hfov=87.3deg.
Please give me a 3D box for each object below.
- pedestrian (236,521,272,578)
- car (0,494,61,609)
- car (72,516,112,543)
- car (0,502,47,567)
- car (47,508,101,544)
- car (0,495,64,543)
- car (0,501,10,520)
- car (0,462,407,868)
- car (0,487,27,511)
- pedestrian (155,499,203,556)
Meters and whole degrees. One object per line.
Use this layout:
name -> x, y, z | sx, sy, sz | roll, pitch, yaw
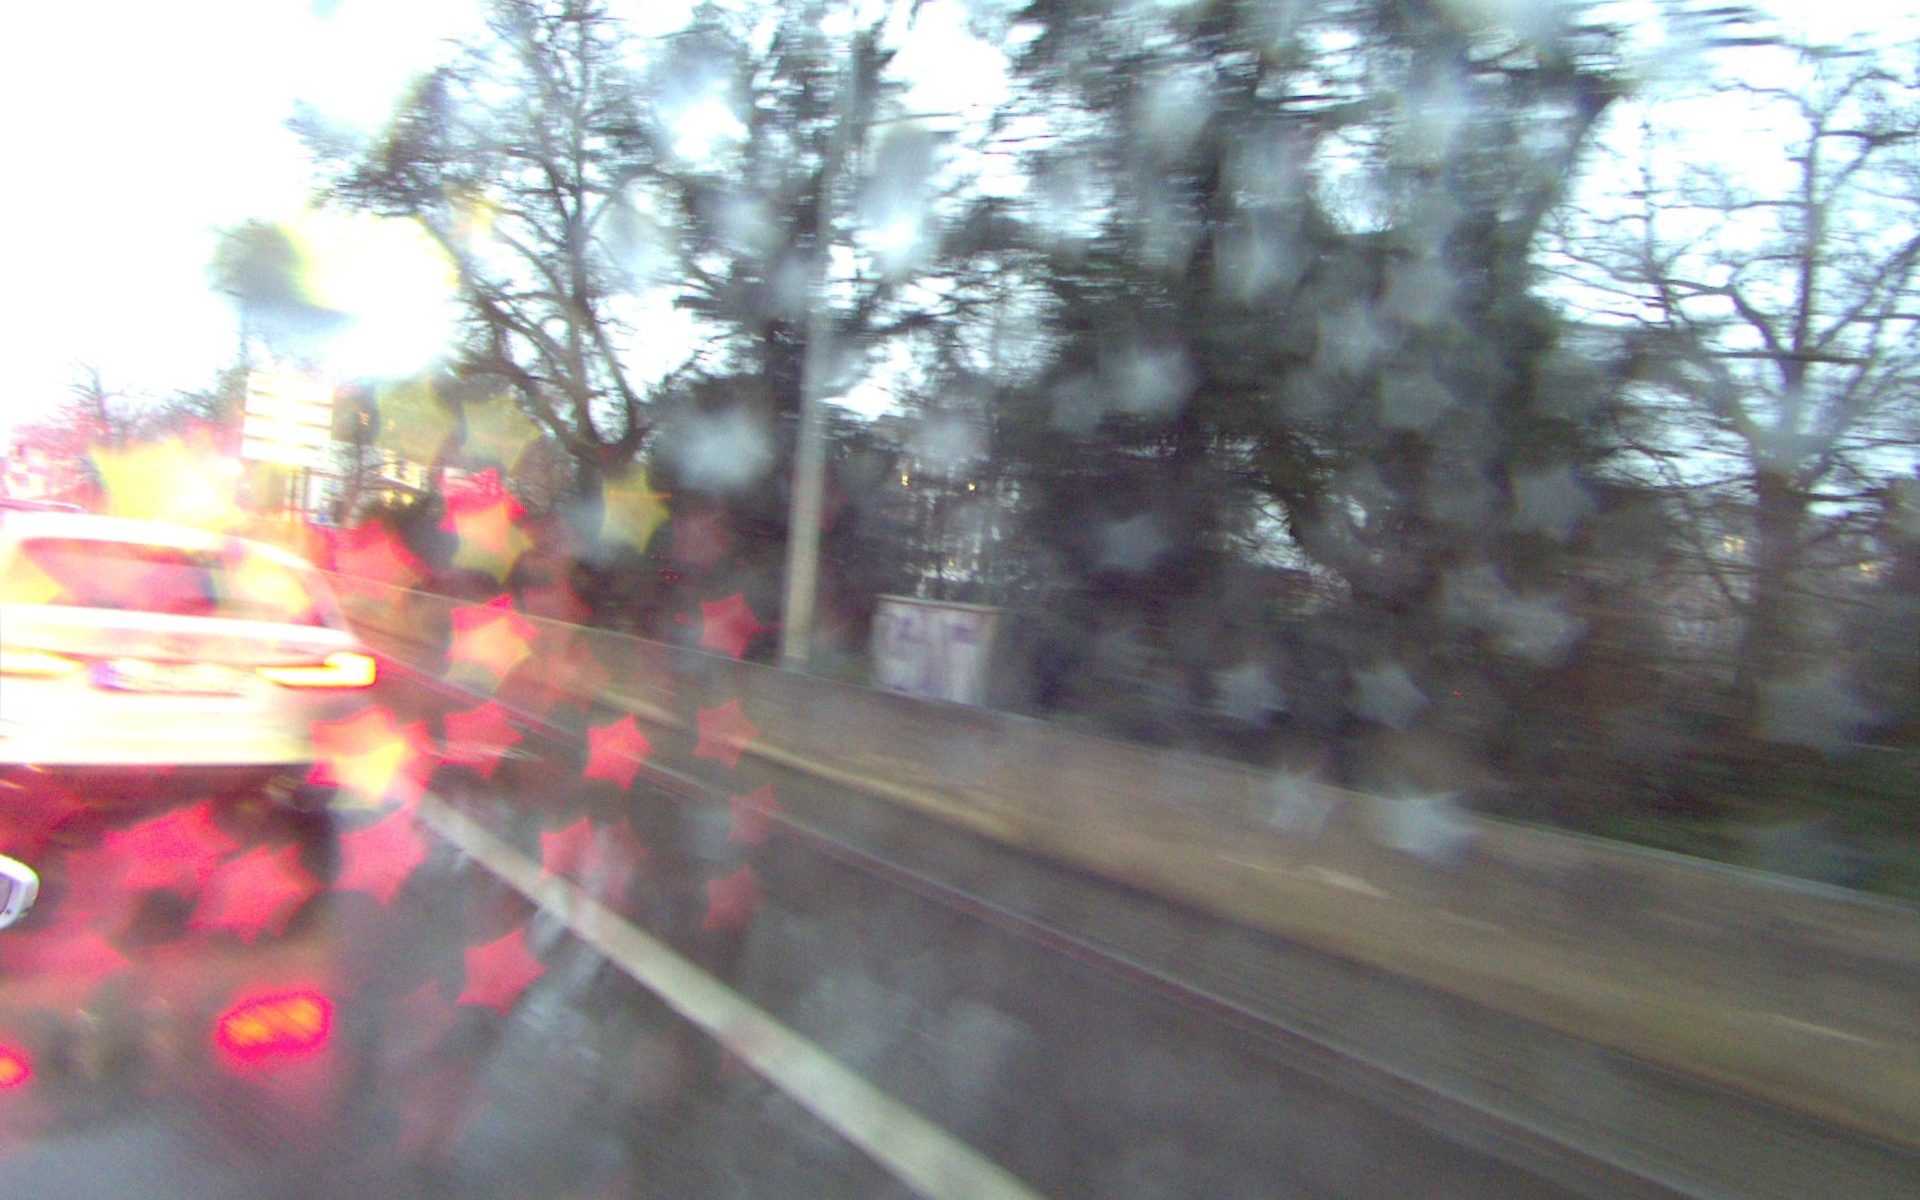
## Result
pedestrian -> -27.202, -1.947, 38.740 | 0.953, 2.039, 0.997 | 5, 1, -37
car -> -14.705, -0.843, 14.976 | 1.794, 1.529, 3.848 | 6, -1, -43
car -> -56.181, -4.558, 65.088 | 1.732, 1.437, 3.657 | 6, 0, -43
car -> -24.073, -1.729, 25.099 | 1.741, 1.450, 3.686 | 9, -2, -43
car -> -42.133, -3.521, 47.833 | 1.732, 1.437, 3.657 | 6, 0, -43
car -> -33.801, -2.949, 36.542 | 1.732, 1.437, 3.657 | 6, 0, -43
car -> -71.014, -6.668, 73.649 | 1.925, 1.303, 3.952 | 9, -2, -43
car -> -5.048, 0.123, 5.966 | 1.856, 1.575, 4.877 | 6, 0, -43
car -> -66.652, -7.093, 70.523 | 1.732, 1.437, 4.095 | 6, 0, -43
pedestrian -> -30.252, -2.802, 38.976 | 0.989, 2.039, 0.961 | 6, 1, 24
